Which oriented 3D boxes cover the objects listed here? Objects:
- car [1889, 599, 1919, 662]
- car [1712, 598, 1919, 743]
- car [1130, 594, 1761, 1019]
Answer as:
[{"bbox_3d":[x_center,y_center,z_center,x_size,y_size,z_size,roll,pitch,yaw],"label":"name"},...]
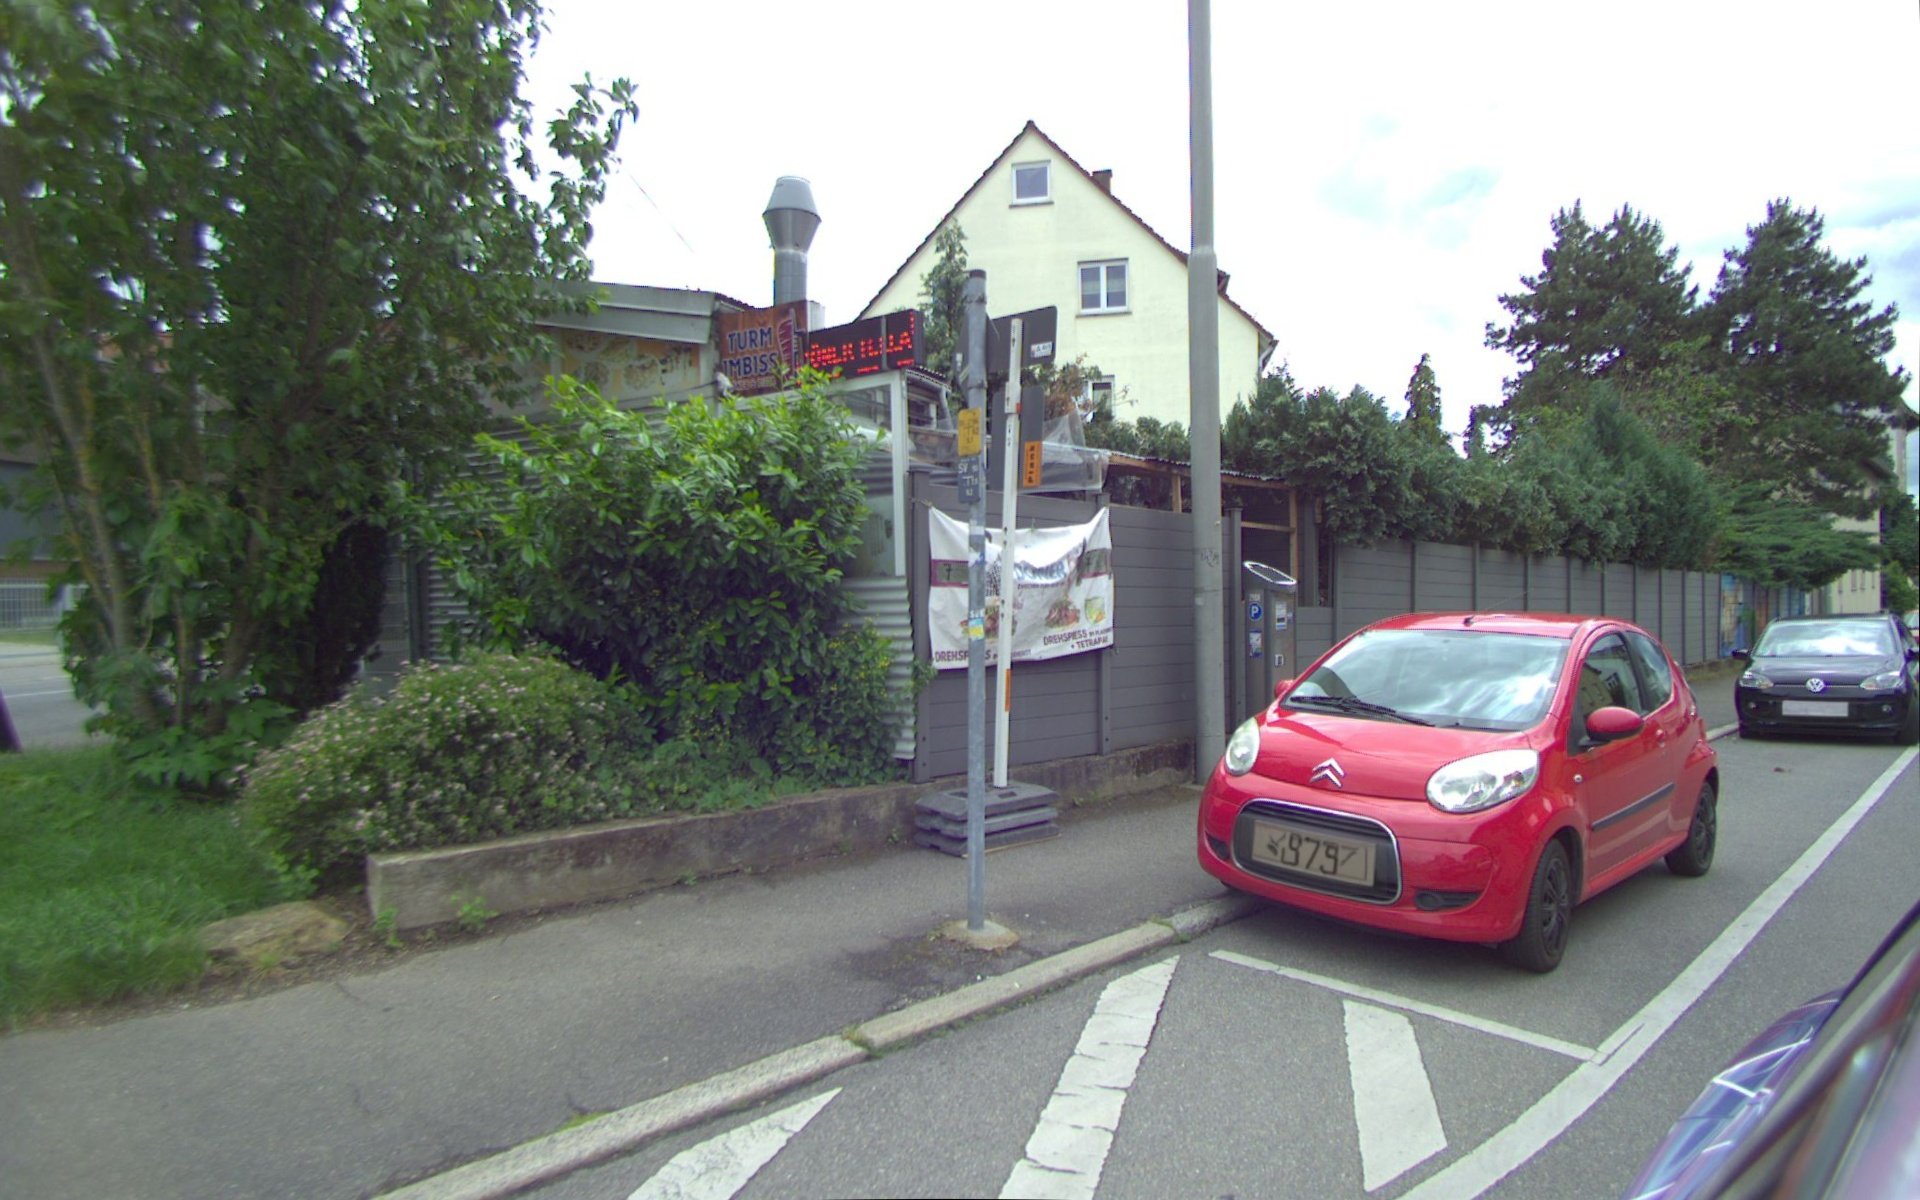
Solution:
[{"bbox_3d":[25.144,0.729,25.610,4.278,1.519,1.992,0,-2,-43],"label":"car"},{"bbox_3d":[10.935,0.777,12.458,3.930,1.500,1.816,0,-3,-41],"label":"car"},{"bbox_3d":[2.866,0.732,5.563,3.930,1.499,1.718,0,1,-41],"label":"car"}]
